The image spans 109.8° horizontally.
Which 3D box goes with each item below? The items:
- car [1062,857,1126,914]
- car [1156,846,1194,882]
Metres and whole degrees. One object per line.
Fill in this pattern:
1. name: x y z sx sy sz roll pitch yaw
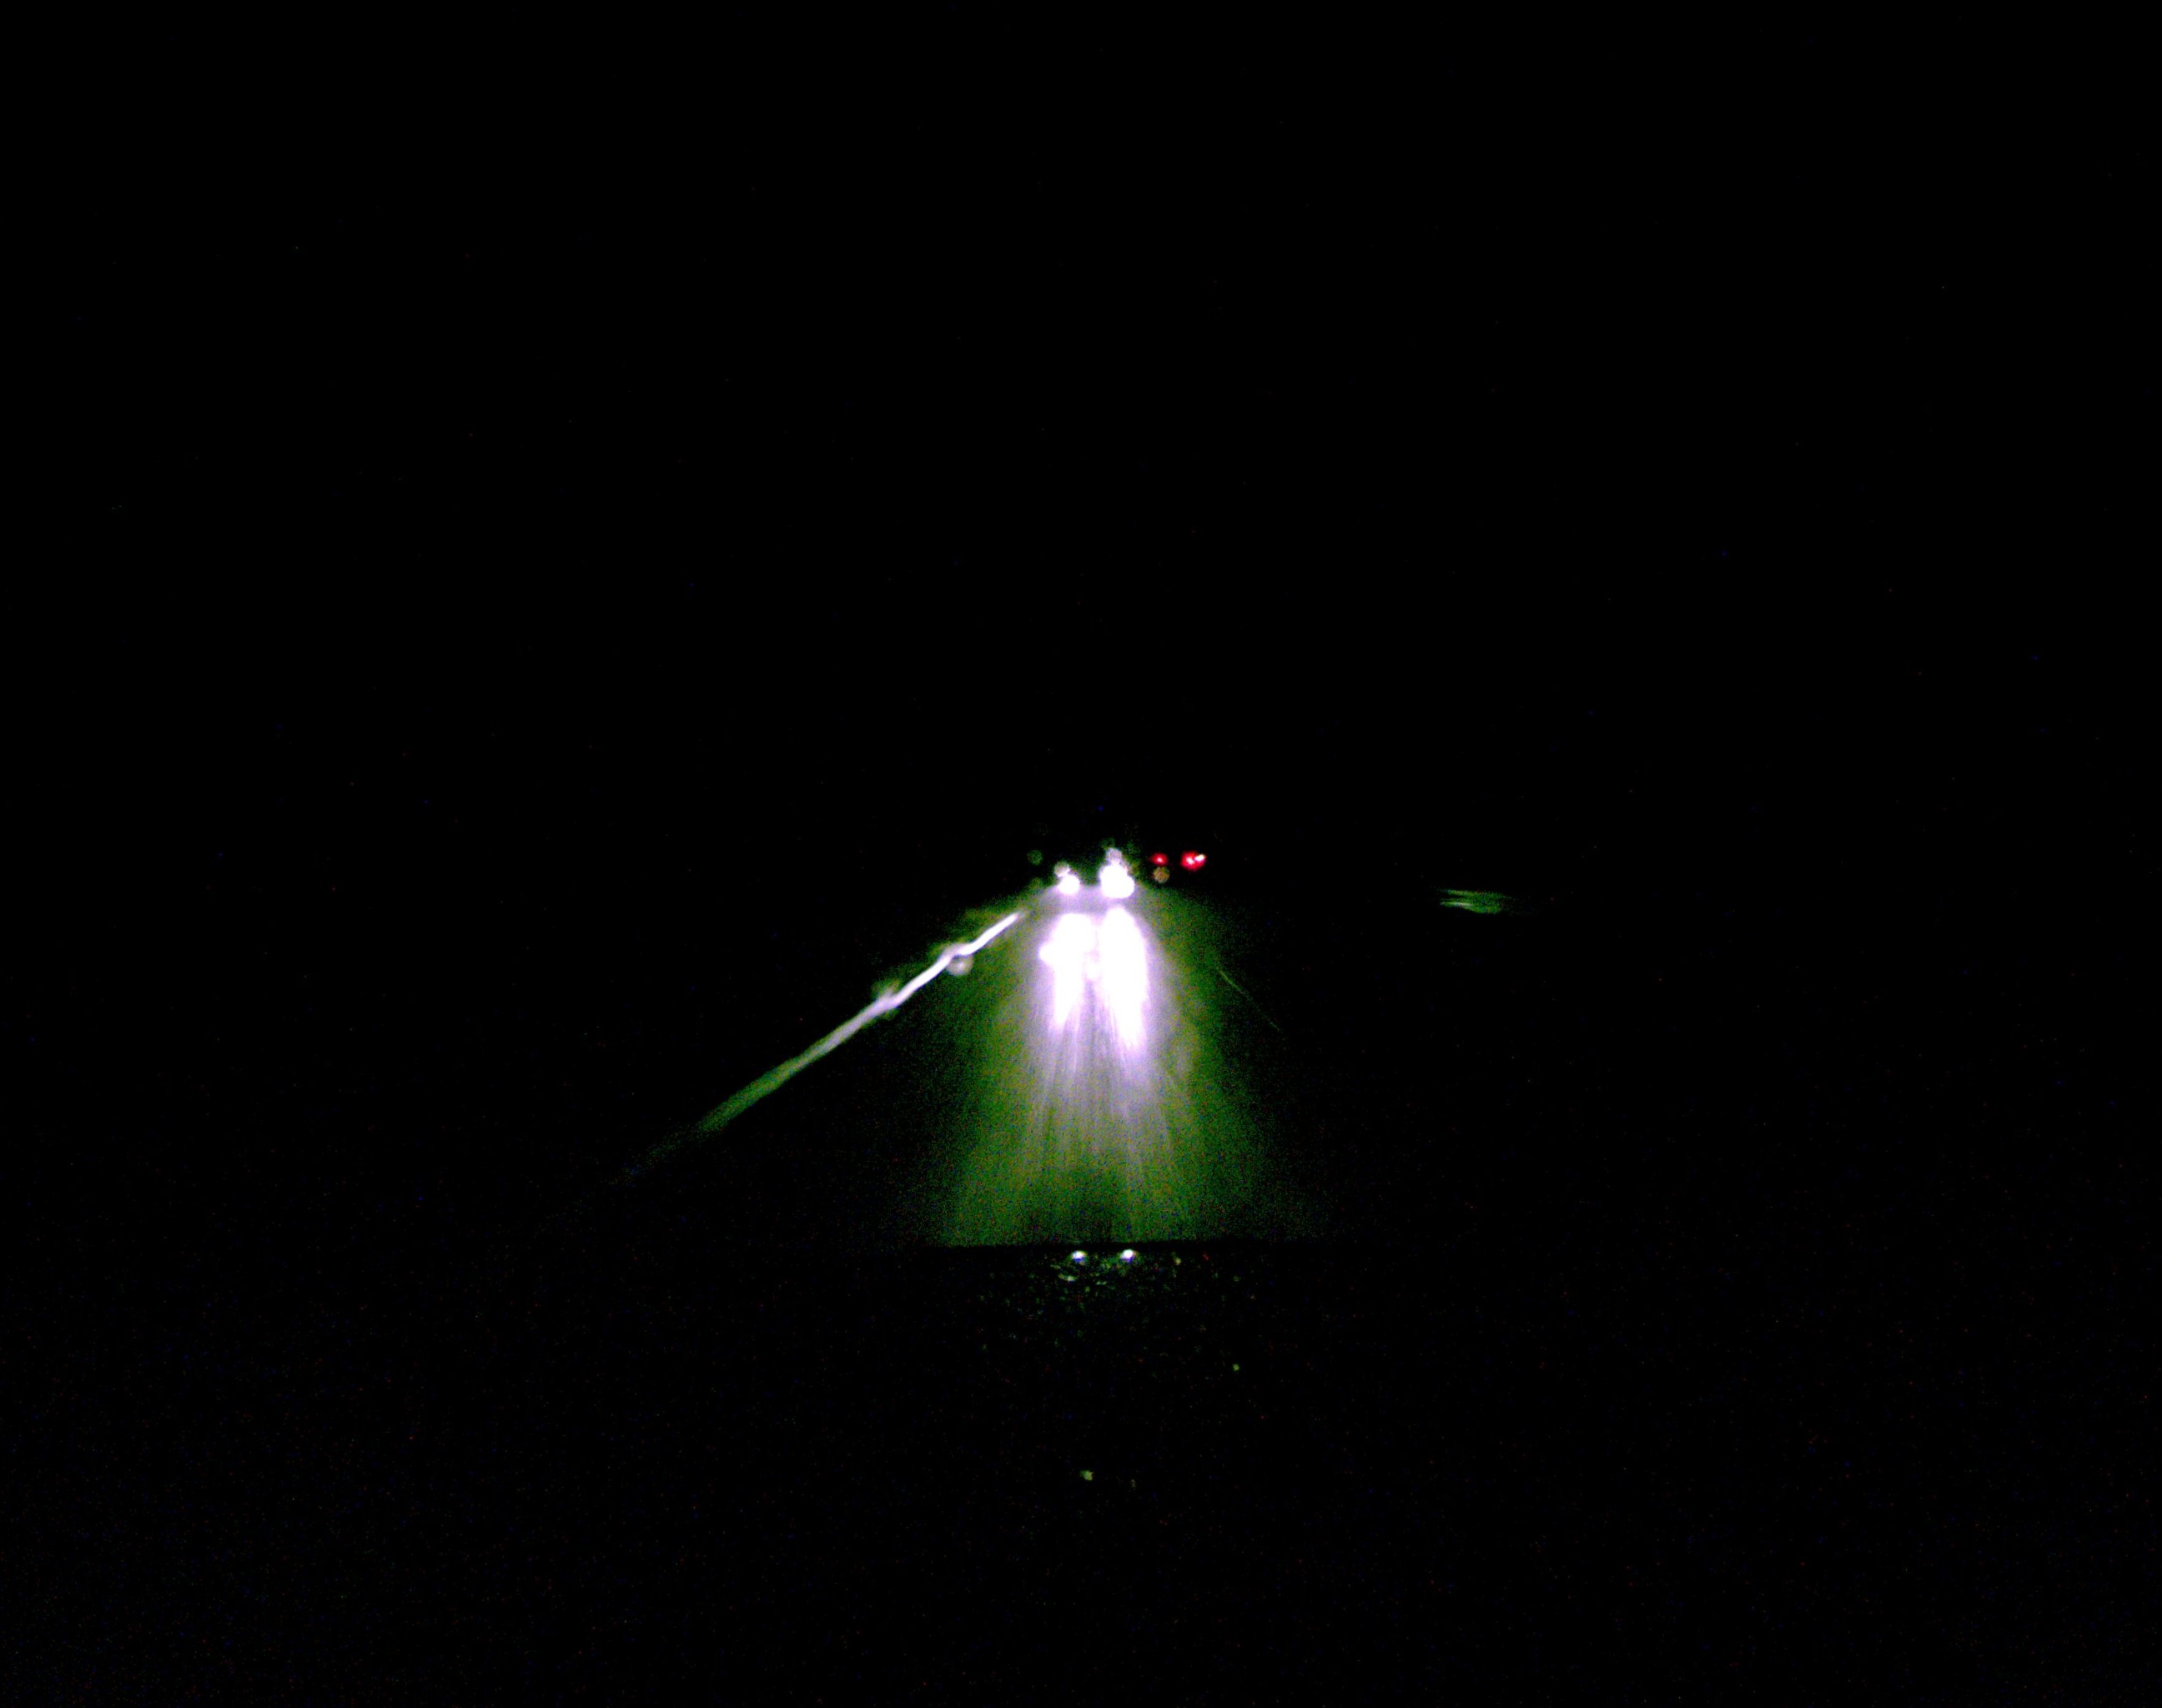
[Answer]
1. car: 0.414 0.917 23.664 1.744 1.501 3.600 -4 0 1
2. car: 5.581 0.590 45.555 1.998 2.002 4.457 -1 0 4
